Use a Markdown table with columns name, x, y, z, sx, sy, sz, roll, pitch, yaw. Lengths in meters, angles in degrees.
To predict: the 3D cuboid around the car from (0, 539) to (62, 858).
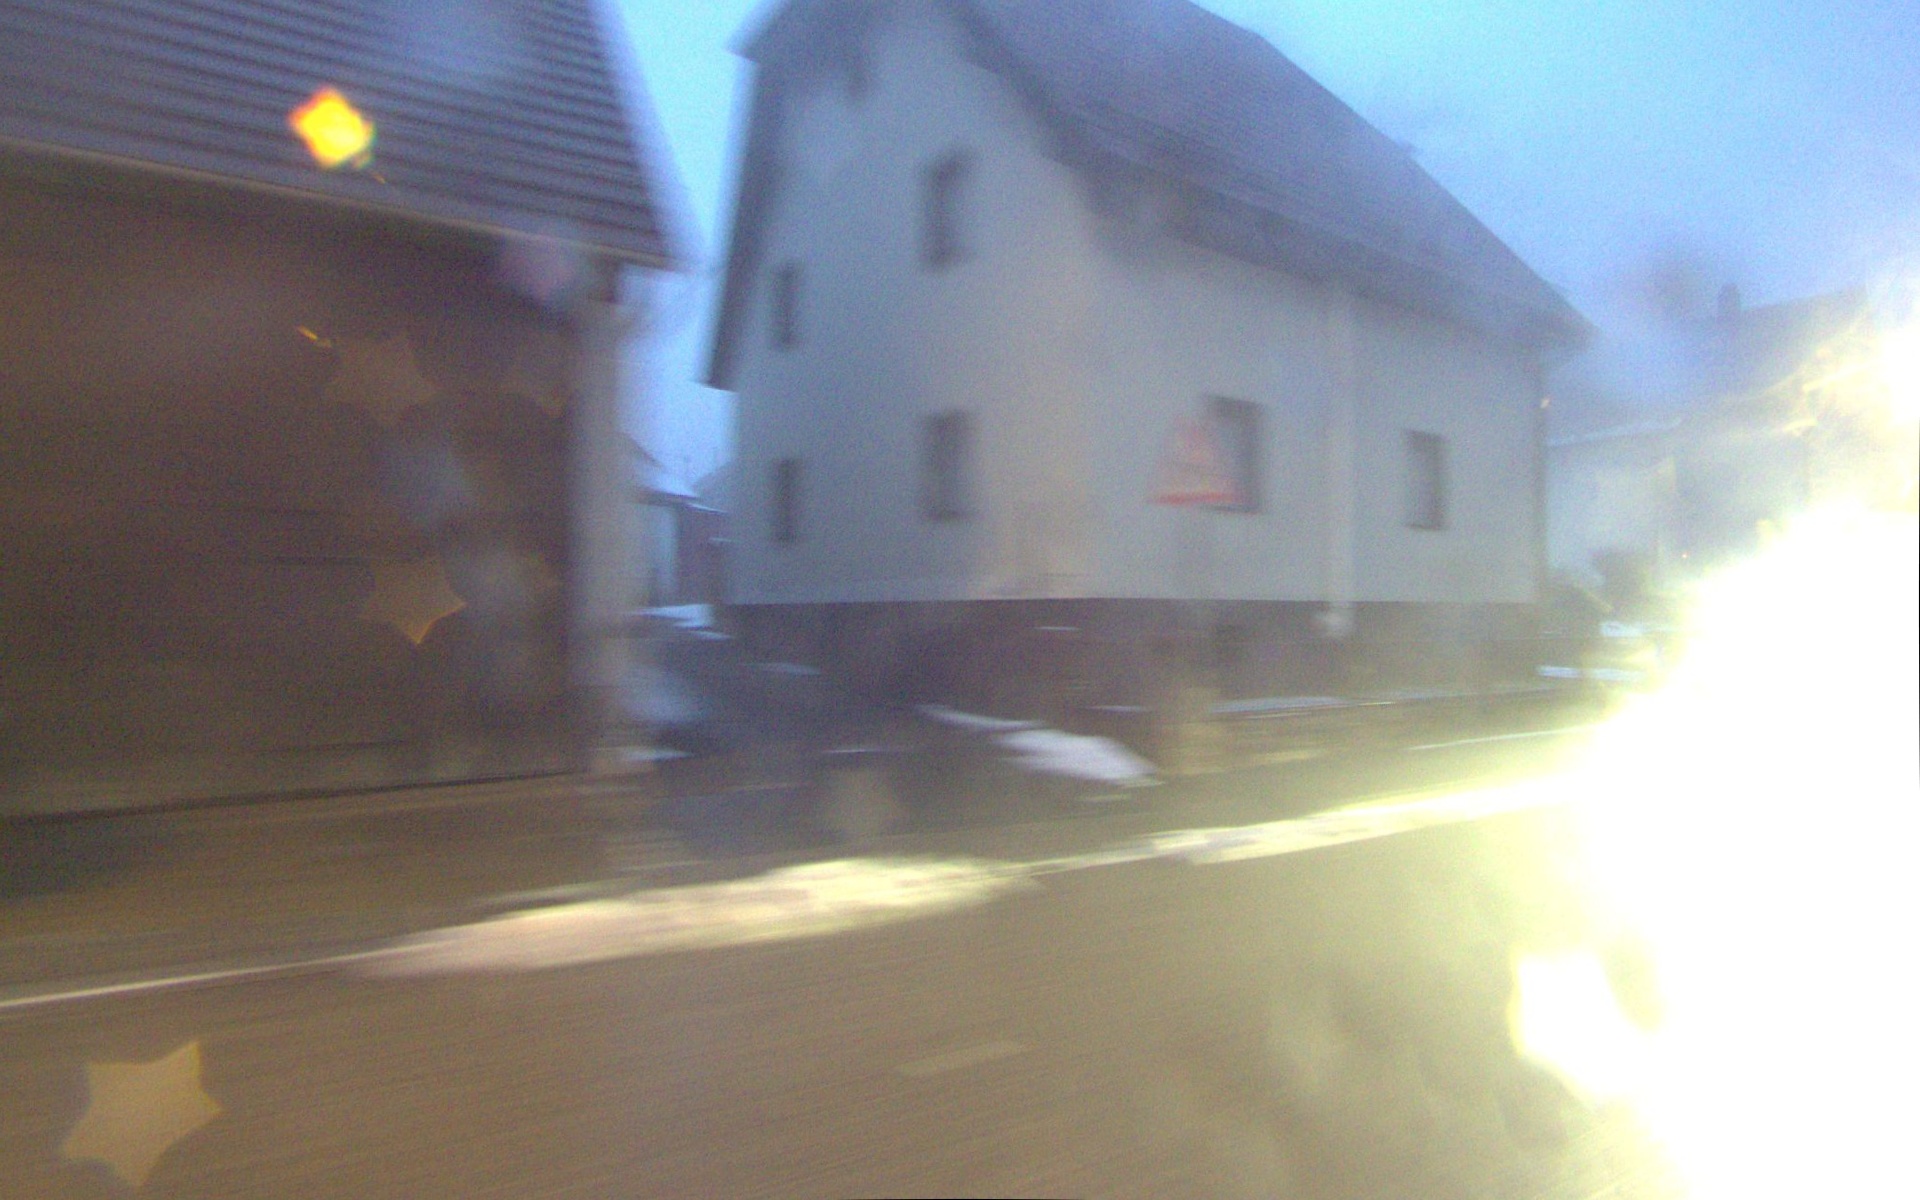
| name | x | y | z | sx | sy | sz | roll | pitch | yaw |
| --- | --- | --- | --- | --- | --- | --- | --- | --- | --- |
| car | -6.462 | 0.463 | 3.865 | 4.142 | 1.543 | 1.983 | 0 | 2 | -31 |

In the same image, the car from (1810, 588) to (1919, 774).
| name | x | y | z | sx | sy | sz | roll | pitch | yaw |
| --- | --- | --- | --- | --- | --- | --- | --- | --- | --- |
| car | 10.692 | 0.751 | 10.324 | 4.430 | 1.710 | 1.830 | 0 | 0 | -34 |
